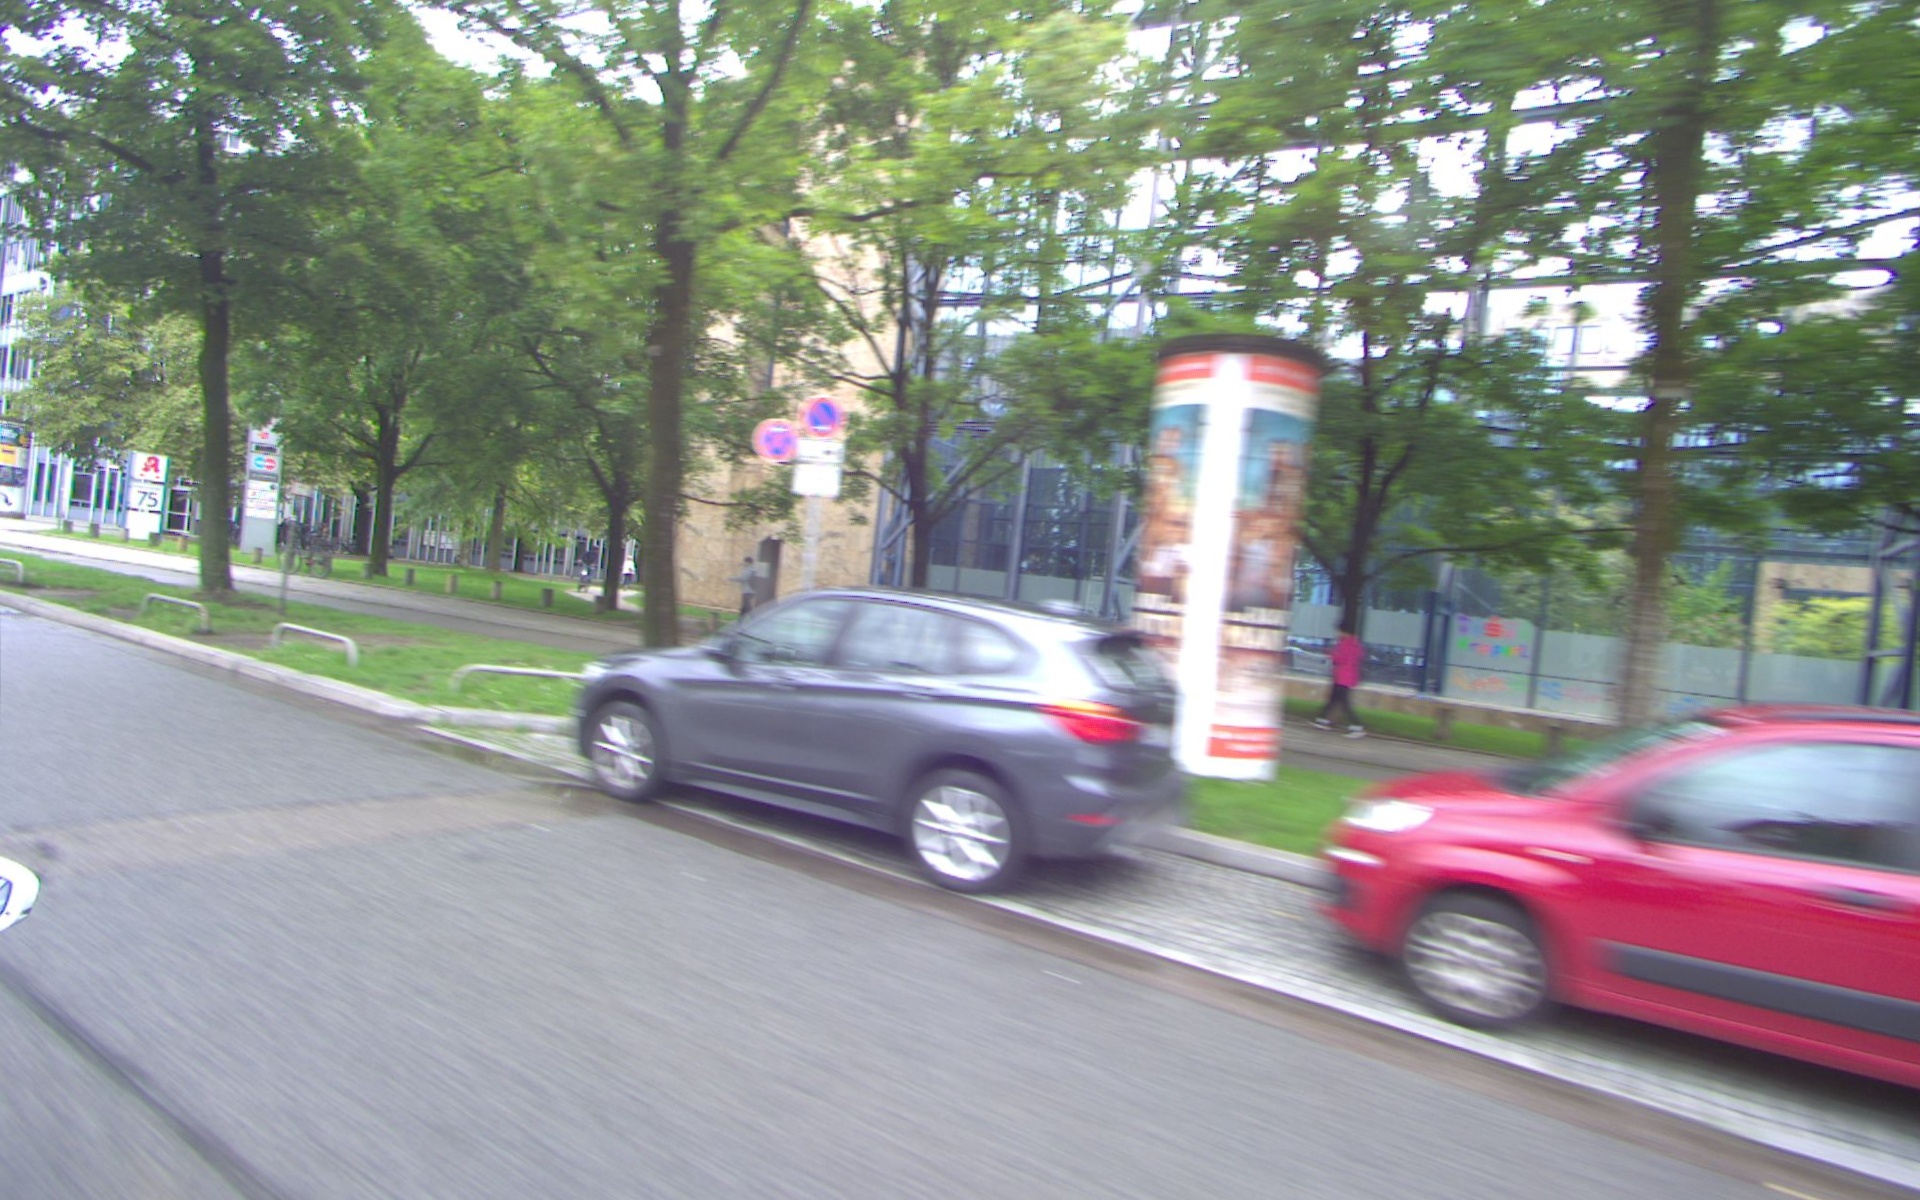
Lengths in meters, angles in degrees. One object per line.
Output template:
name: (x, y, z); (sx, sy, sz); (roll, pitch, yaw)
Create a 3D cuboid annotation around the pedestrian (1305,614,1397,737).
pedestrian: (5.669, 1.081, 14.600); (0.733, 1.667, 0.853); (3, 3, -42)

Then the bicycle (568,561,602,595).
bicycle: (-13.957, -0.818, 37.465); (0.714, 1.144, 1.764); (6, 1, -7)

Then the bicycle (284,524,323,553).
bicycle: (-34.625, -3.228, 53.052); (2.135, 1.276, 0.554); (7, 1, 22)

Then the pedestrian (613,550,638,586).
pedestrian: (-16.742, -1.612, 50.291); (0.849, 1.699, 0.589); (7, 1, 9)

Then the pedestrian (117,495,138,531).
pedestrian: (-44.289, -4.640, 53.516); (0.759, 1.795, 0.685); (8, 2, 43)

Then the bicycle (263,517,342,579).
bicycle: (-15.686, -1.244, 24.002); (1.886, 1.266, 0.621); (7, 1, 26)

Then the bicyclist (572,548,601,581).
bicyclist: (-13.898, -1.304, 37.422); (0.714, 1.144, 0.958); (6, 1, -8)

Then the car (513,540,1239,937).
car: (-0.692, 0.658, 6.804); (4.525, 1.611, 1.863); (7, 1, 30)

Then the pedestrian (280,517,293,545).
pedestrian: (-37.489, -3.844, 55.966); (0.342, 1.510, 0.346); (6, 1, -2)

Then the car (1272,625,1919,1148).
car: (3.437, 1.129, 4.417); (3.563, 1.593, 1.552); (7, 1, 30)

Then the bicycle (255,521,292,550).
bicycle: (-35.501, -3.326, 52.008); (1.985, 1.276, 0.509); (7, 1, 22)

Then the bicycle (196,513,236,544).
bicycle: (-36.759, -3.537, 49.676); (2.019, 1.276, 0.608); (7, 1, 24)

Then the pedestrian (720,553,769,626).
pedestrian: (-5.249, -0.252, 24.516); (0.865, 1.667, 0.570); (7, 2, 35)
